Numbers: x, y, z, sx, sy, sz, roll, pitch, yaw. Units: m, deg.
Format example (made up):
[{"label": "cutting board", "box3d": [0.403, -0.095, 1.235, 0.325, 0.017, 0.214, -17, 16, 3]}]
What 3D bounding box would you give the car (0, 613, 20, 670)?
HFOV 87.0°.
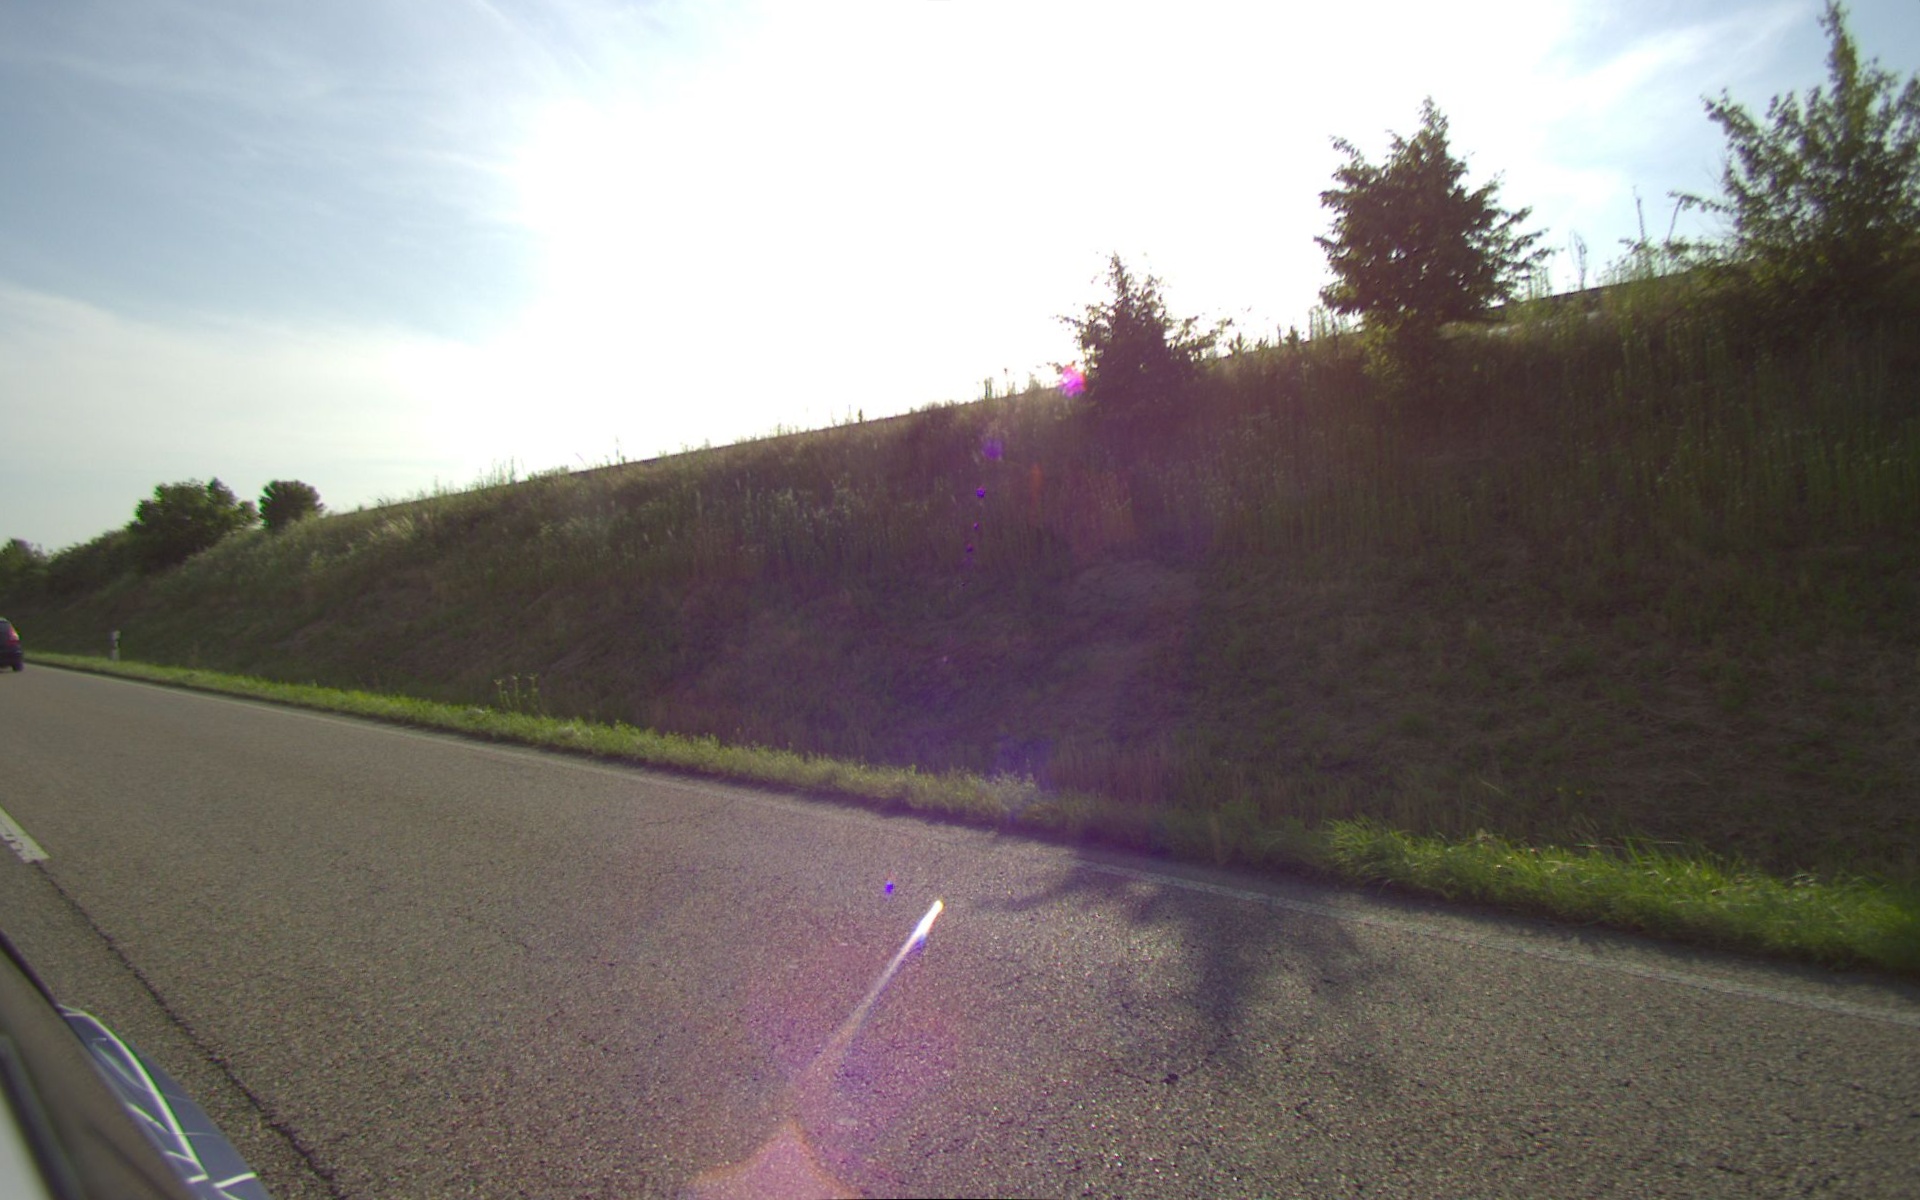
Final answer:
[{"label": "car", "box3d": [-26.450, 1.112, 26.833, 4.014, 1.464, 1.699, -1, 0, 40]}]
